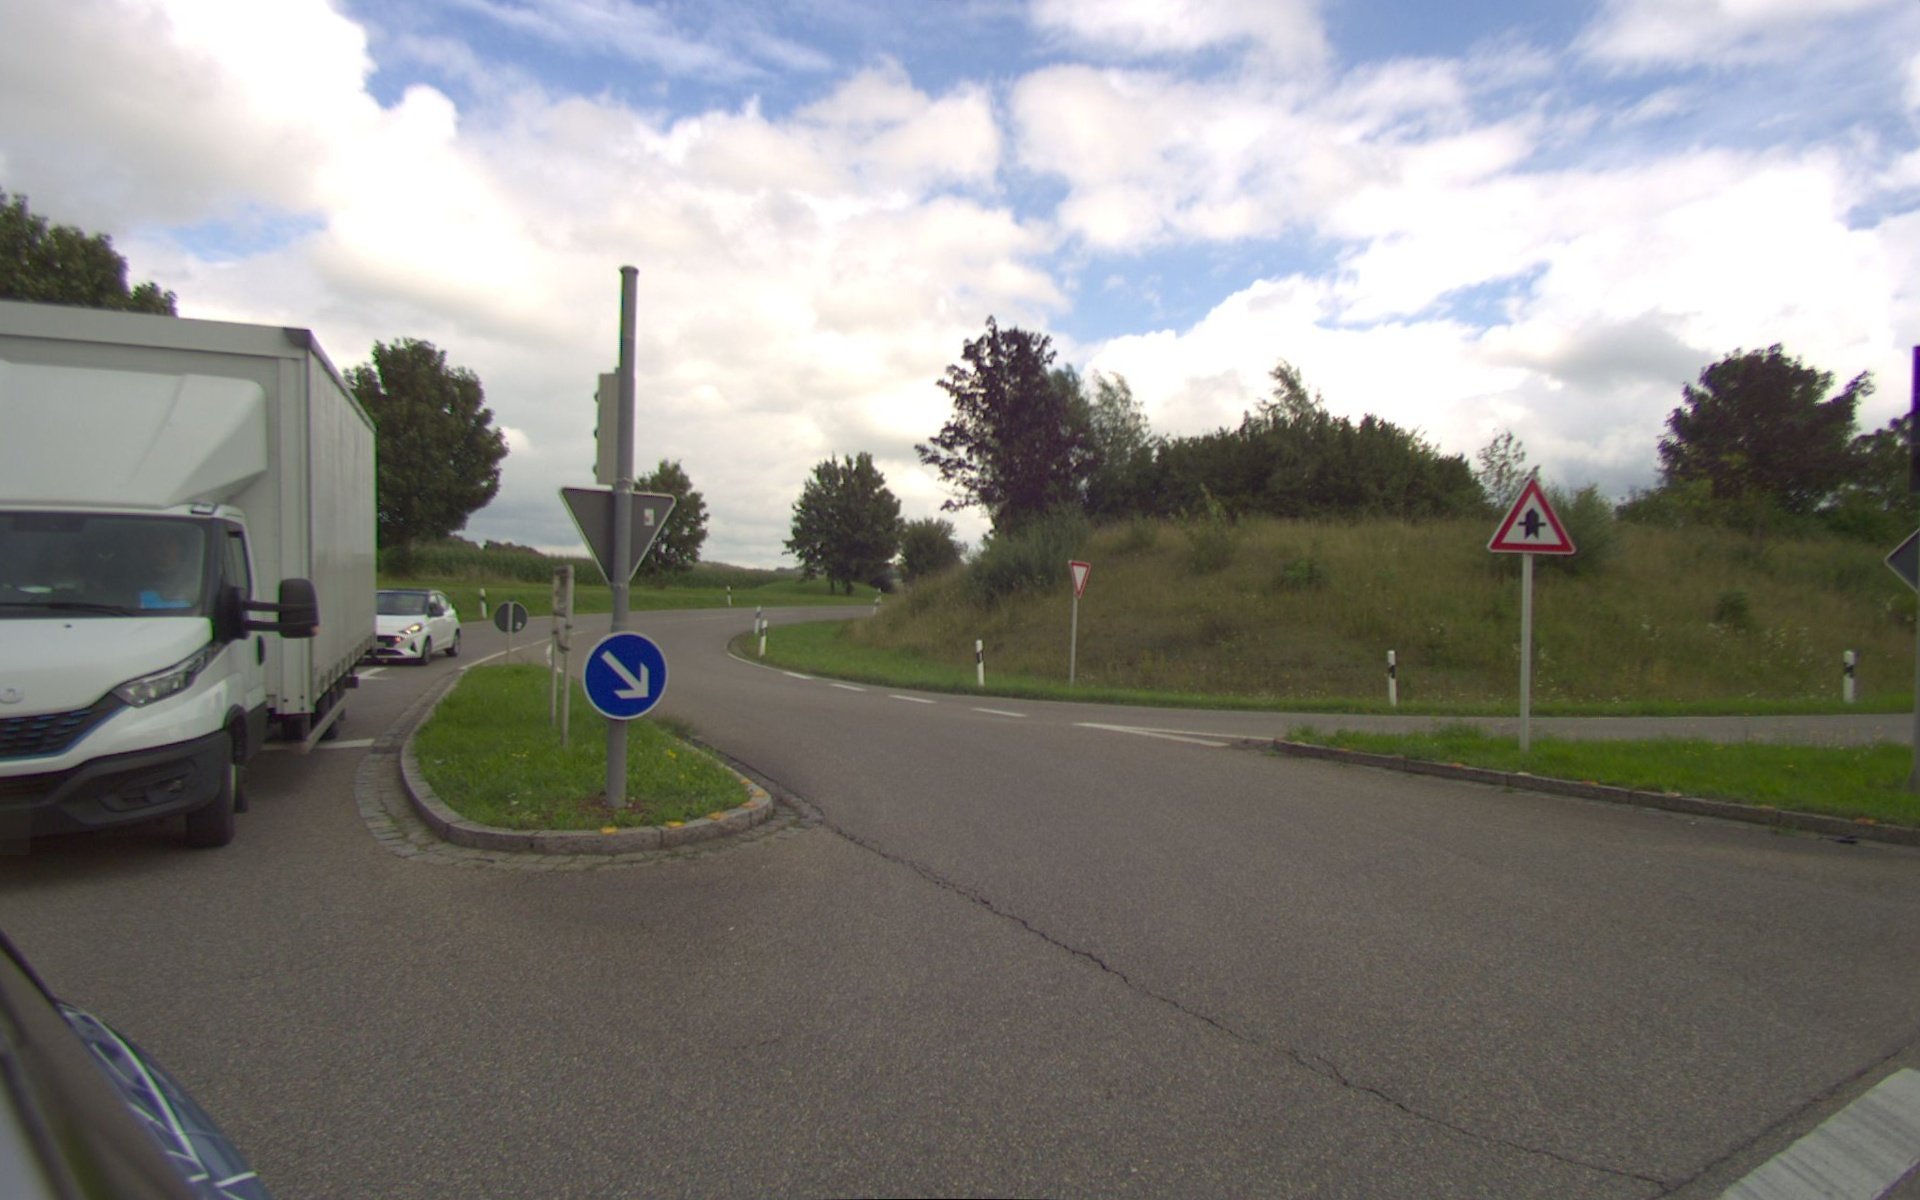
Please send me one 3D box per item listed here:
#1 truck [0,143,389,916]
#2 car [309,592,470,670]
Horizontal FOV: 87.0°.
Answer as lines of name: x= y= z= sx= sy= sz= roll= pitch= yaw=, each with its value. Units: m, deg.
truck: x=-6.901 y=-0.391 z=8.809 sx=2.790 sy=3.792 sz=8.829 roll=1 pitch=0 yaw=-26
car: x=-11.758 y=0.601 z=21.162 sx=1.781 sy=1.463 sz=4.009 roll=1 pitch=-1 yaw=-12
